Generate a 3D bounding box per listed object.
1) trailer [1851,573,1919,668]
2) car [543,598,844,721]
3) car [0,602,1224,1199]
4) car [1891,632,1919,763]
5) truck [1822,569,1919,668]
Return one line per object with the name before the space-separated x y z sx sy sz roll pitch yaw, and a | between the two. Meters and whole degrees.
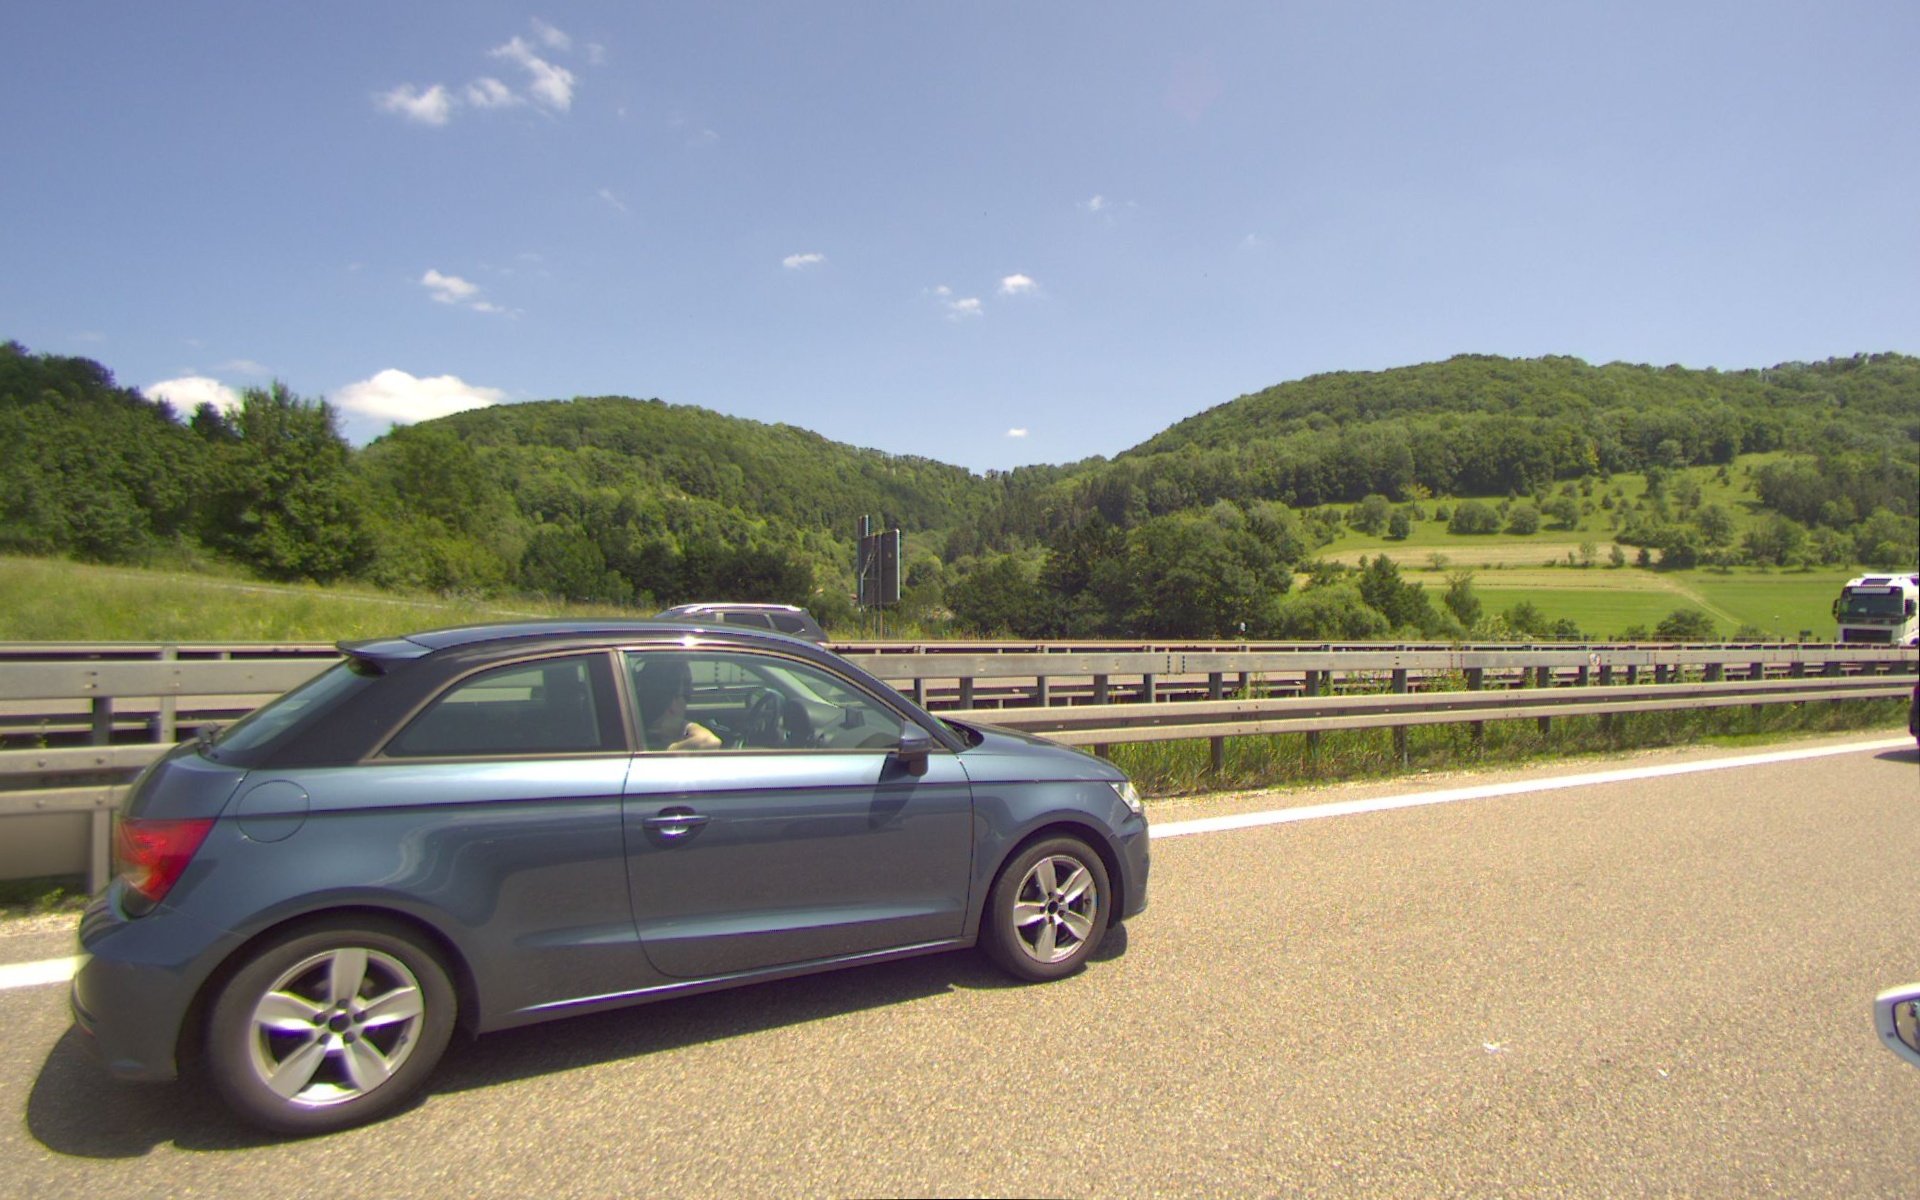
trailer | 48.686 1.123 49.478 13.450 4.247 2.842 2 0 -29
car | -3.976 0.833 15.116 4.031 1.631 1.840 1 -1 -30
car | -0.976 0.754 4.077 3.954 1.407 1.680 1 -1 -31
car | 12.875 1.113 11.567 4.910 1.409 1.792 1 -1 -30
truck | 43.288 0.890 46.483 7.143 4.288 2.786 2 0 -29
